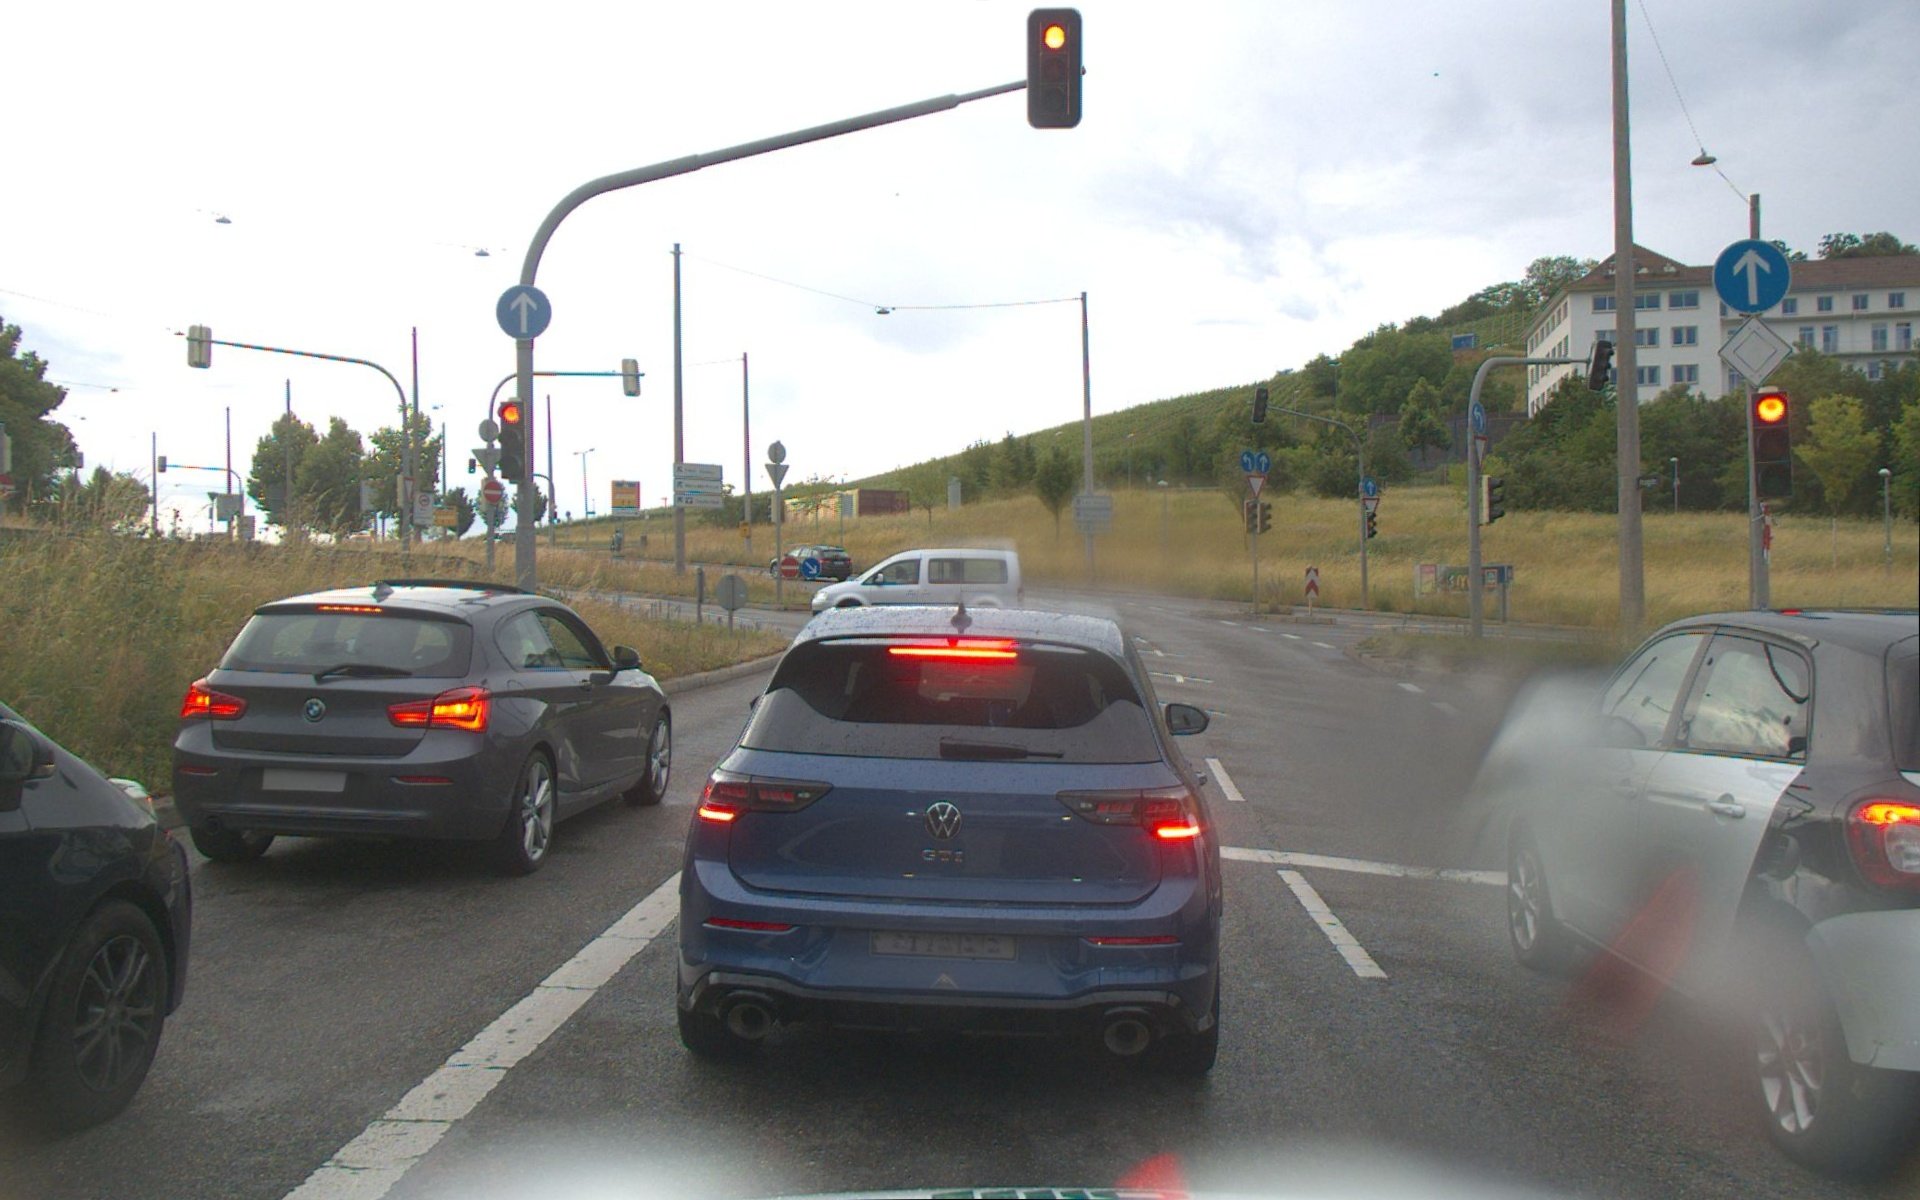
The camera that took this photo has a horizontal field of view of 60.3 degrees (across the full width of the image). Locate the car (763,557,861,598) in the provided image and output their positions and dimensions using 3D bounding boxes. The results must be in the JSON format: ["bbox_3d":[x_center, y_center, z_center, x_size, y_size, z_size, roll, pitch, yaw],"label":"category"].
[{"bbox_3d":[-6.303,-0.977,70.194,1.978,1.646,4.790,1,1,-36],"label":"car"}]

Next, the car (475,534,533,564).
[{"bbox_3d":[-27.986,-3.132,101.492,1.979,1.665,4.362,1,-1,-37],"label":"car"}]

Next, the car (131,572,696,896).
[{"bbox_3d":[-2.868,0.598,9.705,1.667,1.485,4.117,0,0,5],"label":"car"}]

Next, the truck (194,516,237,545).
[{"bbox_3d":[-88.277,-8.255,196.021,3.234,3.128,6.096,4,0,-37],"label":"truck"}]

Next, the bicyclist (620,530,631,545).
[{"bbox_3d":[-24.200,-4.527,119.634,0.519,1.065,0.573,4,0,-35],"label":"bicyclist"}]

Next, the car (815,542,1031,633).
[{"bbox_3d":[-0.827,-0.259,36.332,4.589,1.882,1.820,1,-1,-3],"label":"car"}]

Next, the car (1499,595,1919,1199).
[{"bbox_3d":[3.169,0.784,5.731,1.623,1.529,3.452,1,-1,3],"label":"car"}]

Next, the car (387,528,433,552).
[{"bbox_3d":[-40.764,-4.429,122.483,1.978,1.503,4.446,1,-1,-36],"label":"car"}]

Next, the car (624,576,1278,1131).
[{"bbox_3d":[0.113,0.680,6.442,1.786,1.486,3.810,1,0,4],"label":"car"}]

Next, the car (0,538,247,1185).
[{"bbox_3d":[-3.073,0.596,3.211,1.608,1.530,3.779,2,0,2],"label":"car"}]

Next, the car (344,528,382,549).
[{"bbox_3d":[-49.855,-5.115,138.069,1.977,1.503,4.366,1,-1,-35],"label":"car"}]

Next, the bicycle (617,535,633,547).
[{"bbox_3d":[-24.250,-4.258,119.695,0.513,0.788,1.602,2,0,-33],"label":"bicycle"}]

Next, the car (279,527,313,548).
[{"bbox_3d":[-64.215,-6.053,159.985,2.110,1.825,4.686,3,0,-34],"label":"car"}]
